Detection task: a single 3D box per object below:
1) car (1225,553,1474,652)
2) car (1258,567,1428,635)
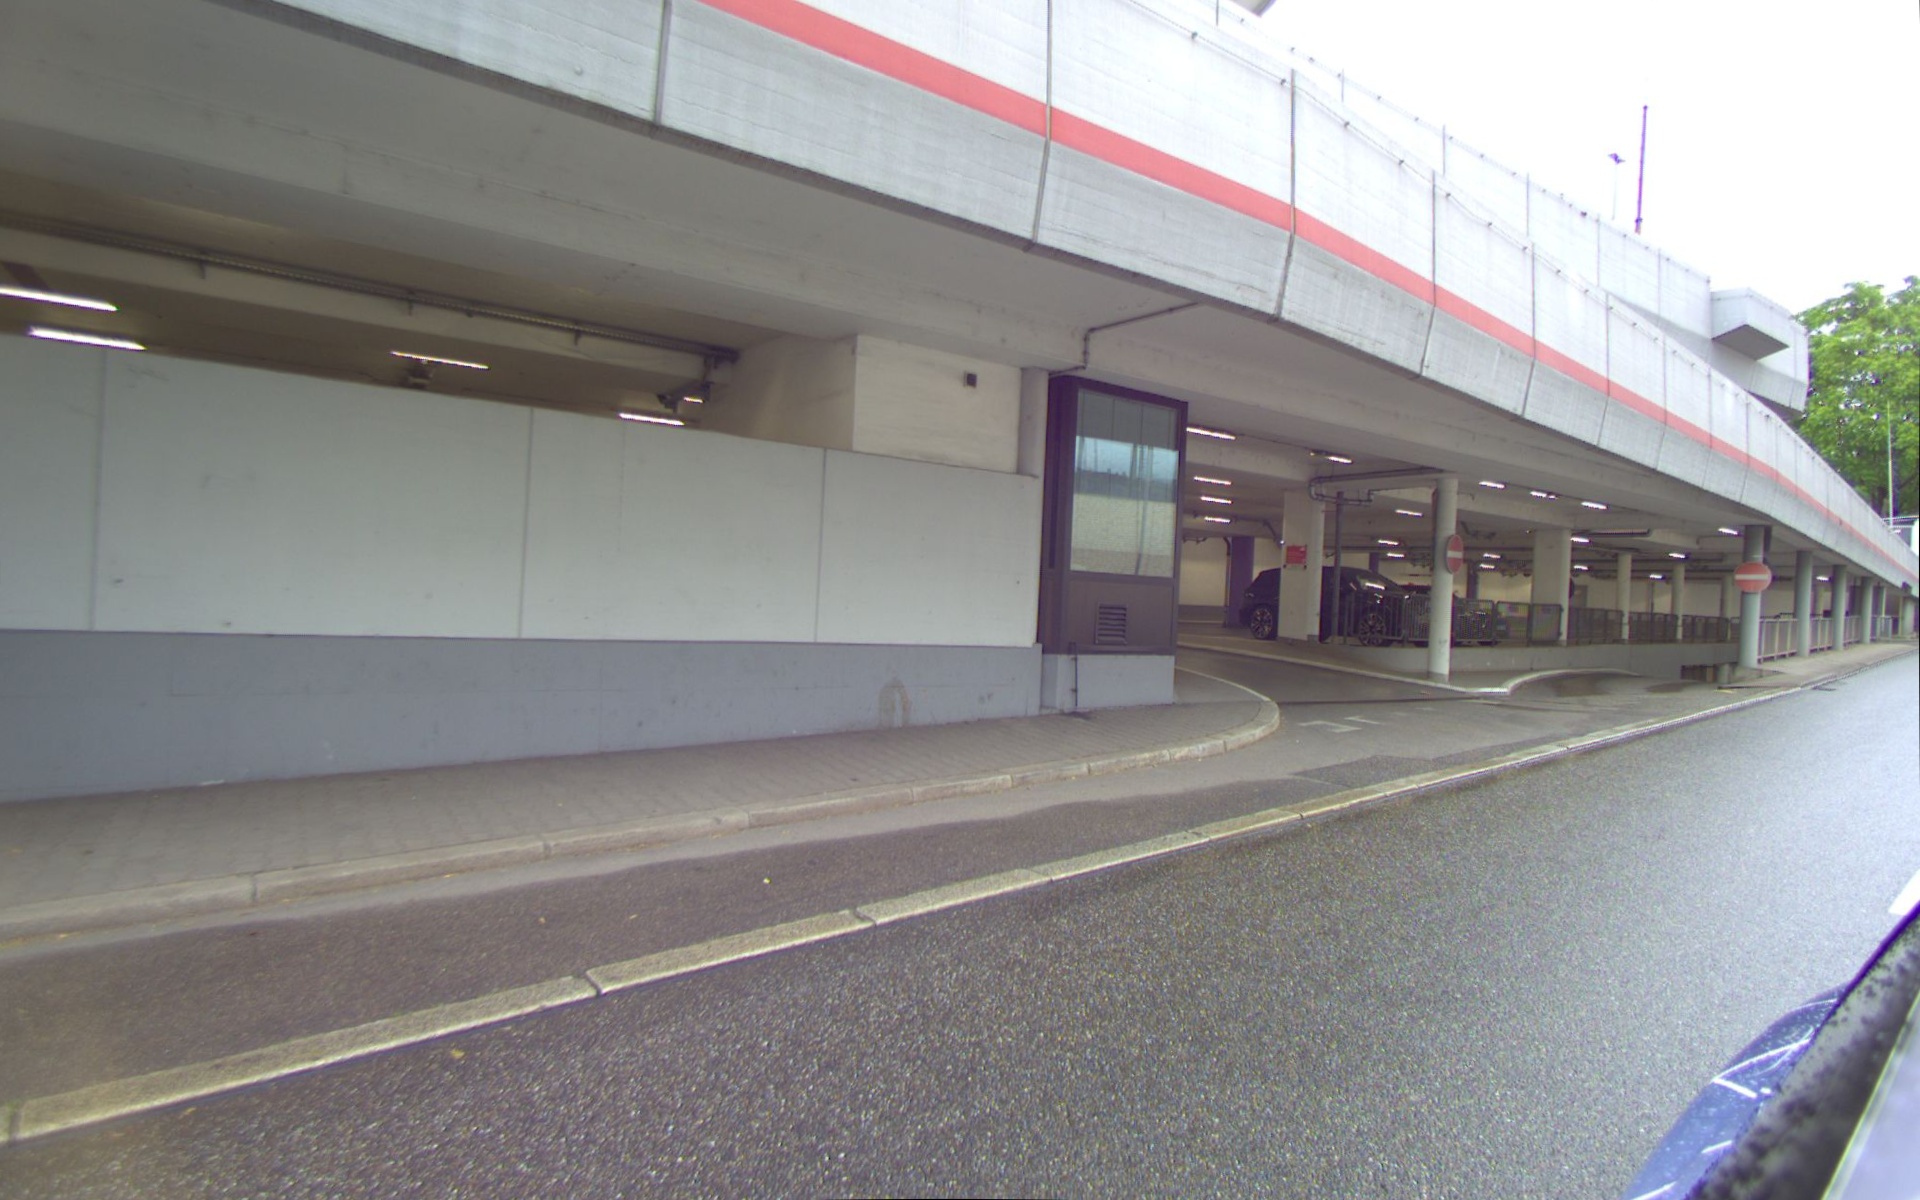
[{"bbox_3d":[8.063,-0.006,21.372,1.787,1.659,4.593,2,3,-36],"label":"car"},{"bbox_3d":[9.828,-0.017,26.191,1.773,1.524,3.736,2,1,-35],"label":"car"}]
